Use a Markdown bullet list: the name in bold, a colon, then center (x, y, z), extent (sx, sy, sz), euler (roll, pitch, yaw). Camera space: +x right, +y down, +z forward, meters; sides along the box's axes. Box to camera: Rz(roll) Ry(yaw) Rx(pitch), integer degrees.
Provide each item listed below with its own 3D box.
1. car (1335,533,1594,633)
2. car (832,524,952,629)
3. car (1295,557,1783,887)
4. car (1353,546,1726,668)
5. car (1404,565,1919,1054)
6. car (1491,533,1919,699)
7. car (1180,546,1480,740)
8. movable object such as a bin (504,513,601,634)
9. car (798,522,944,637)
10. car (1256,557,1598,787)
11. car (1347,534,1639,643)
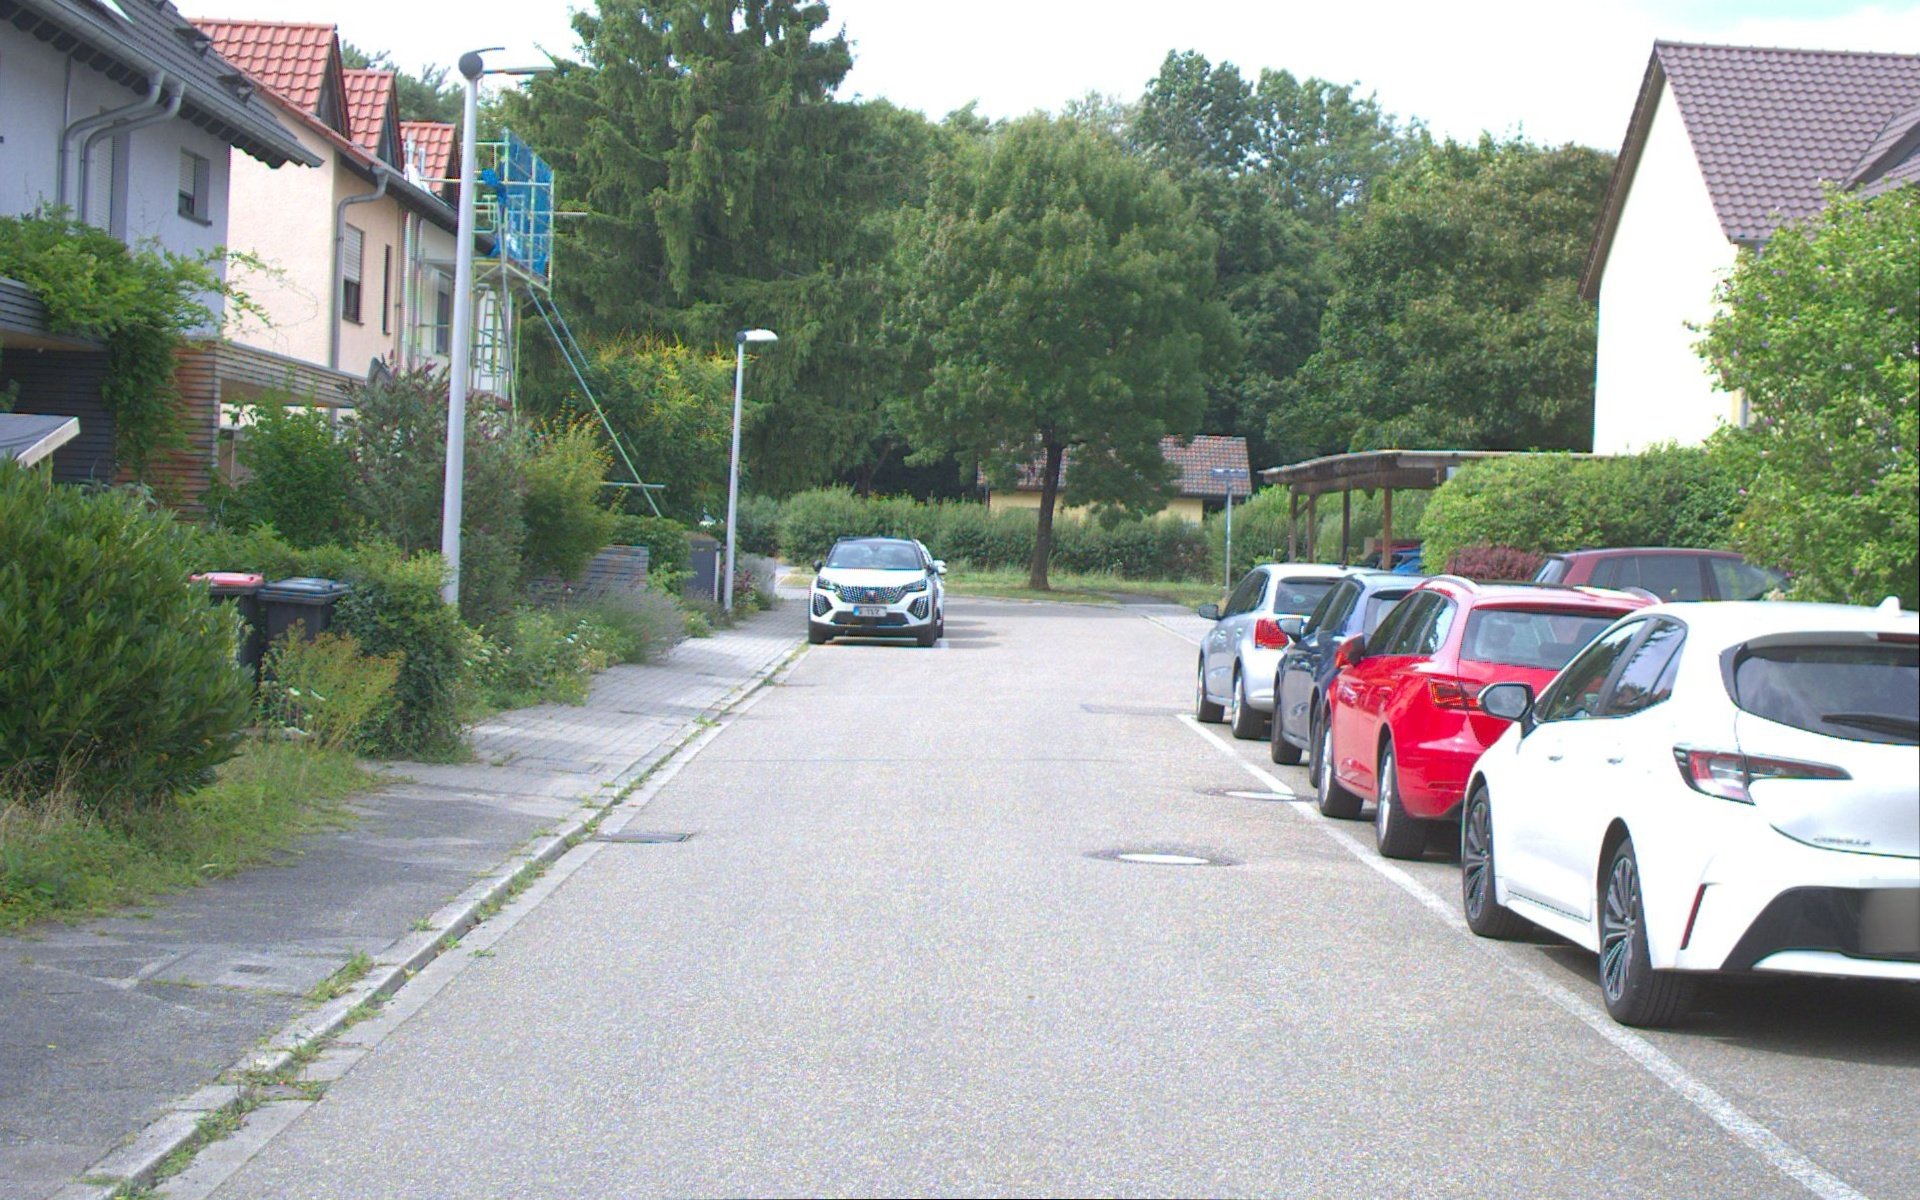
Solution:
- **car**: center (8.378, -0.302, 57.329), extent (3.956, 1.535, 1.839), euler (1, 1, -2)
- **car**: center (-1.065, -0.412, 55.504), extent (1.810, 1.556, 4.848), euler (1, 1, 0)
- **car**: center (3.003, 0.552, 18.853), extent (1.773, 1.431, 4.826), euler (4, 1, 0)
- **car**: center (7.506, 0.074, 44.876), extent (4.449, 1.428, 2.027), euler (1, 1, -2)
- **car**: center (3.003, 0.631, 12.837), extent (1.838, 1.408, 4.638), euler (1, 1, -3)
- **car**: center (7.698, 0.145, 34.967), extent (4.270, 1.555, 1.935), euler (1, 1, 1)
- **car**: center (3.048, 0.306, 29.183), extent (1.864, 1.412, 4.254), euler (2, 1, -2)
- **movable object such as a bin**: center (-4.533, -0.302, 38.334), extent (0.949, 1.307, 1.001), euler (1, 1, -1)
- **car**: center (-1.248, -0.337, 50.106), extent (1.934, 1.551, 4.634), euler (2, 1, 0)
- **car**: center (3.110, 0.425, 23.685), extent (1.773, 1.351, 4.265), euler (2, 1, 0)
- **car**: center (8.087, -0.184, 52.410), extent (4.045, 1.517, 1.951), euler (1, 1, -3)
